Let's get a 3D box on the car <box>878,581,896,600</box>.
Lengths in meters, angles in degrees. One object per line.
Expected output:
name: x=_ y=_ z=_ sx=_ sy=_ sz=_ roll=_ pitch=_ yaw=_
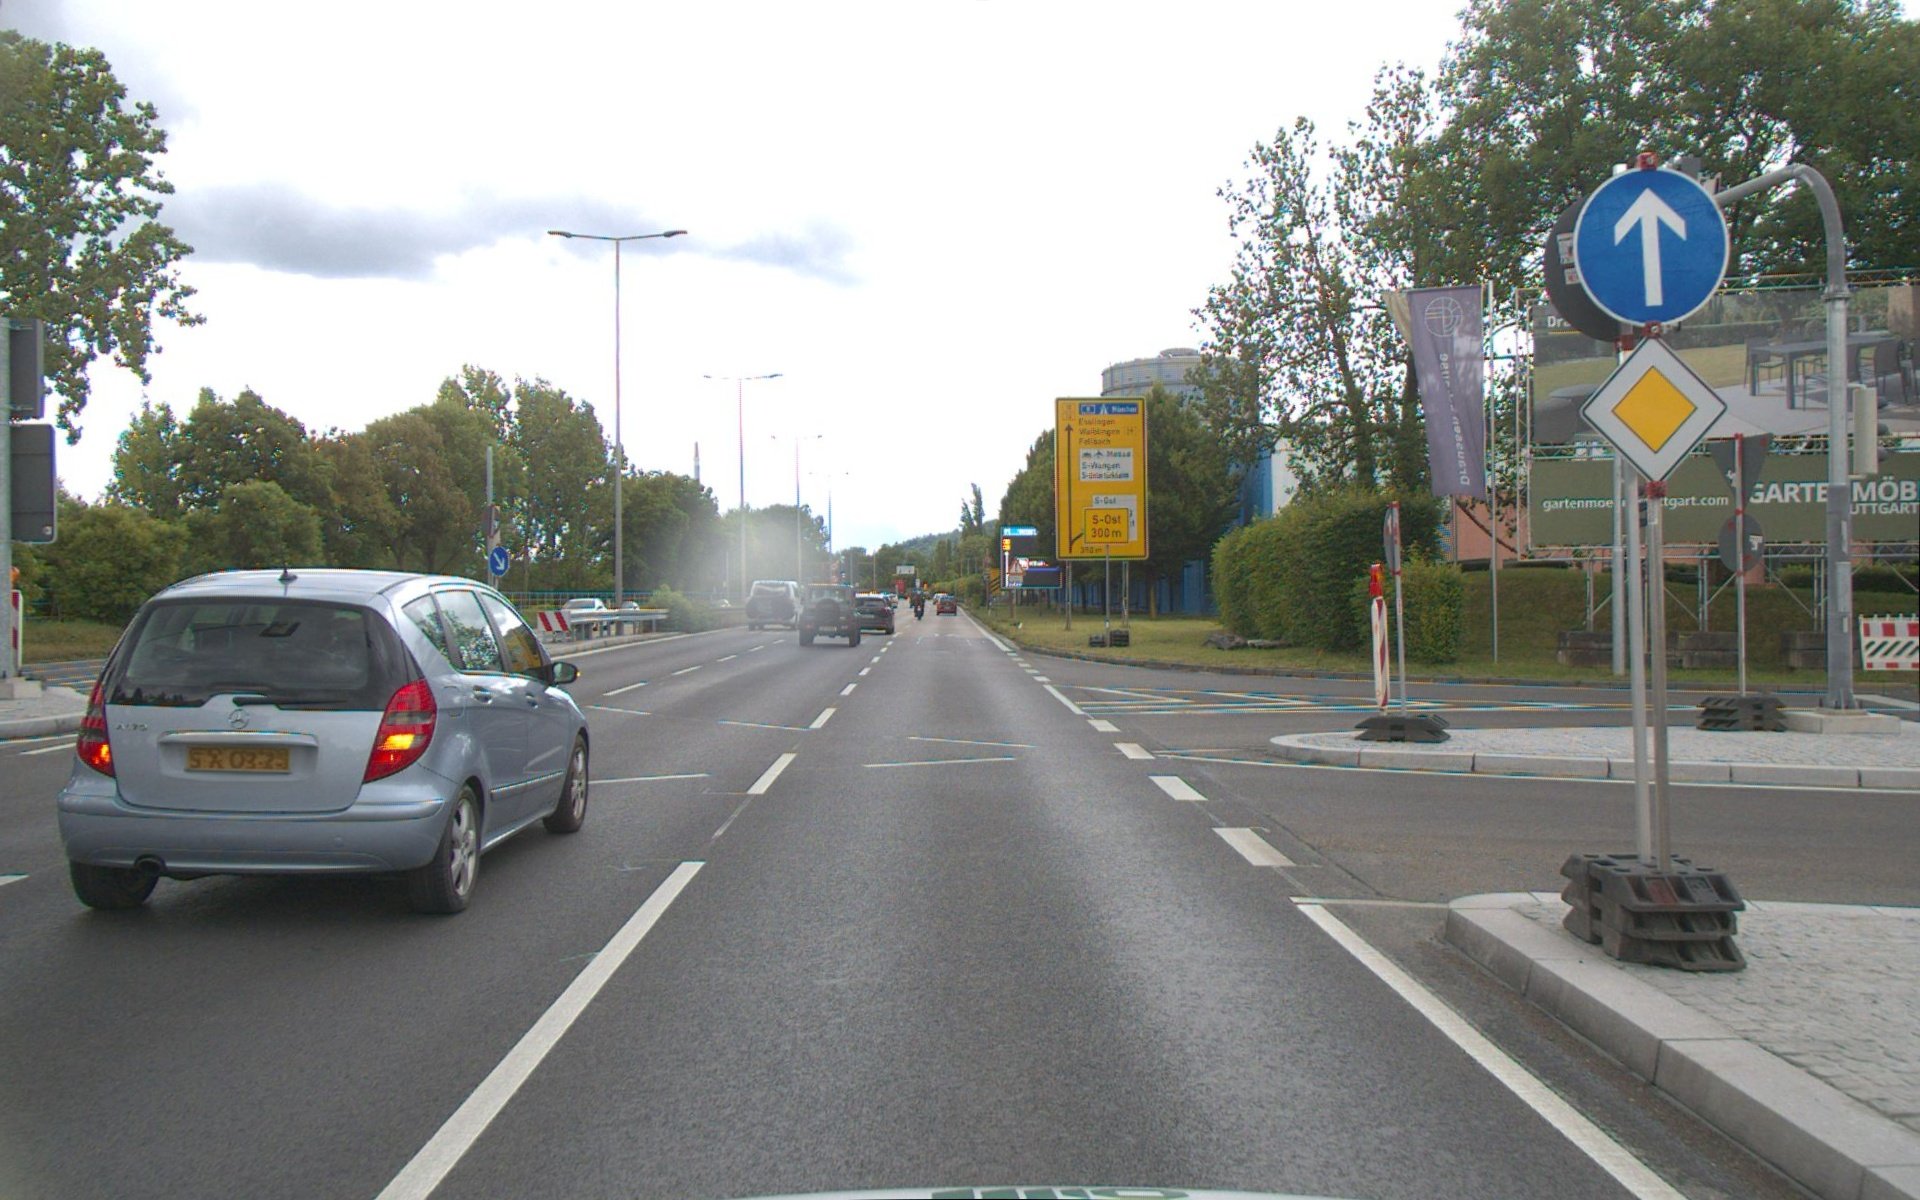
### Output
car: x=-8.307 y=-1.126 z=188.654 sx=1.953 sy=2.048 sz=4.000 roll=2 pitch=1 yaw=-1

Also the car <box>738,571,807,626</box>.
car: x=-7.179 y=-0.089 z=63.738 sx=2.170 sy=1.959 sz=5.001 roll=2 pitch=1 yaw=-1

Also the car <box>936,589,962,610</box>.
car: x=-0.895 y=-0.031 z=134.681 sx=1.953 sy=1.579 sz=3.999 roll=2 pitch=1 yaw=-2

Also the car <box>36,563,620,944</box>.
car: x=-3.056 y=0.606 z=8.931 sx=1.676 sy=1.556 sz=3.999 roll=2 pitch=1 yaw=-2

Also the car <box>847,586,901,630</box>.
car: x=-3.132 y=0.266 z=60.639 sx=1.803 sy=1.489 sz=3.999 roll=2 pitch=1 yaw=-1

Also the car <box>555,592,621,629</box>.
car: x=-16.845 y=0.452 z=75.142 sx=1.953 sy=1.519 sz=4.804 roll=2 pitch=1 yaw=-1

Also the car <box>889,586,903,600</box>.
car: x=-10.086 y=-1.151 z=260.697 sx=1.953 sy=2.048 sz=4.000 roll=2 pitch=1 yaw=-1

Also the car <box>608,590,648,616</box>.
car: x=-22.862 y=0.173 z=114.059 sx=1.953 sy=1.668 sz=4.000 roll=2 pitch=1 yaw=-1

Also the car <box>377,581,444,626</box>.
car: x=-19.399 y=0.121 z=58.450 sx=1.443 sy=1.488 sz=2.737 roll=2 pitch=1 yaw=-1

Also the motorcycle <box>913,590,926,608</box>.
motorcycle: x=-2.429 y=-0.083 z=100.179 sx=0.692 sy=1.058 sz=2.027 roll=2 pitch=1 yaw=1

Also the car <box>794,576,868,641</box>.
car: x=-3.634 y=0.208 z=47.125 sx=1.869 sy=1.713 sz=3.999 roll=2 pitch=1 yaw=-2

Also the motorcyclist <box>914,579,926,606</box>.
motorcyclist: x=-2.423 y=-0.466 z=100.258 sx=0.670 sy=1.638 sz=0.845 roll=2 pitch=1 yaw=0

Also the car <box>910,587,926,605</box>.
car: x=-5.127 y=-0.502 z=202.320 sx=1.953 sy=2.048 sz=4.000 roll=2 pitch=1 yaw=-1

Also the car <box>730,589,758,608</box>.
car: x=-19.864 y=-0.134 z=152.275 sx=1.952 sy=1.668 sz=4.001 roll=2 pitch=1 yaw=1

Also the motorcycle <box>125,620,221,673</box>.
motorcycle: x=-15.895 y=0.942 z=33.487 sx=0.894 sy=1.006 sz=2.162 roll=2 pitch=-2 yaw=-1

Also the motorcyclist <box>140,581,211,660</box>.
motorcyclist: x=-15.886 y=0.420 z=33.516 sx=0.894 sy=1.548 sz=0.980 roll=2 pitch=-2 yaw=-1
